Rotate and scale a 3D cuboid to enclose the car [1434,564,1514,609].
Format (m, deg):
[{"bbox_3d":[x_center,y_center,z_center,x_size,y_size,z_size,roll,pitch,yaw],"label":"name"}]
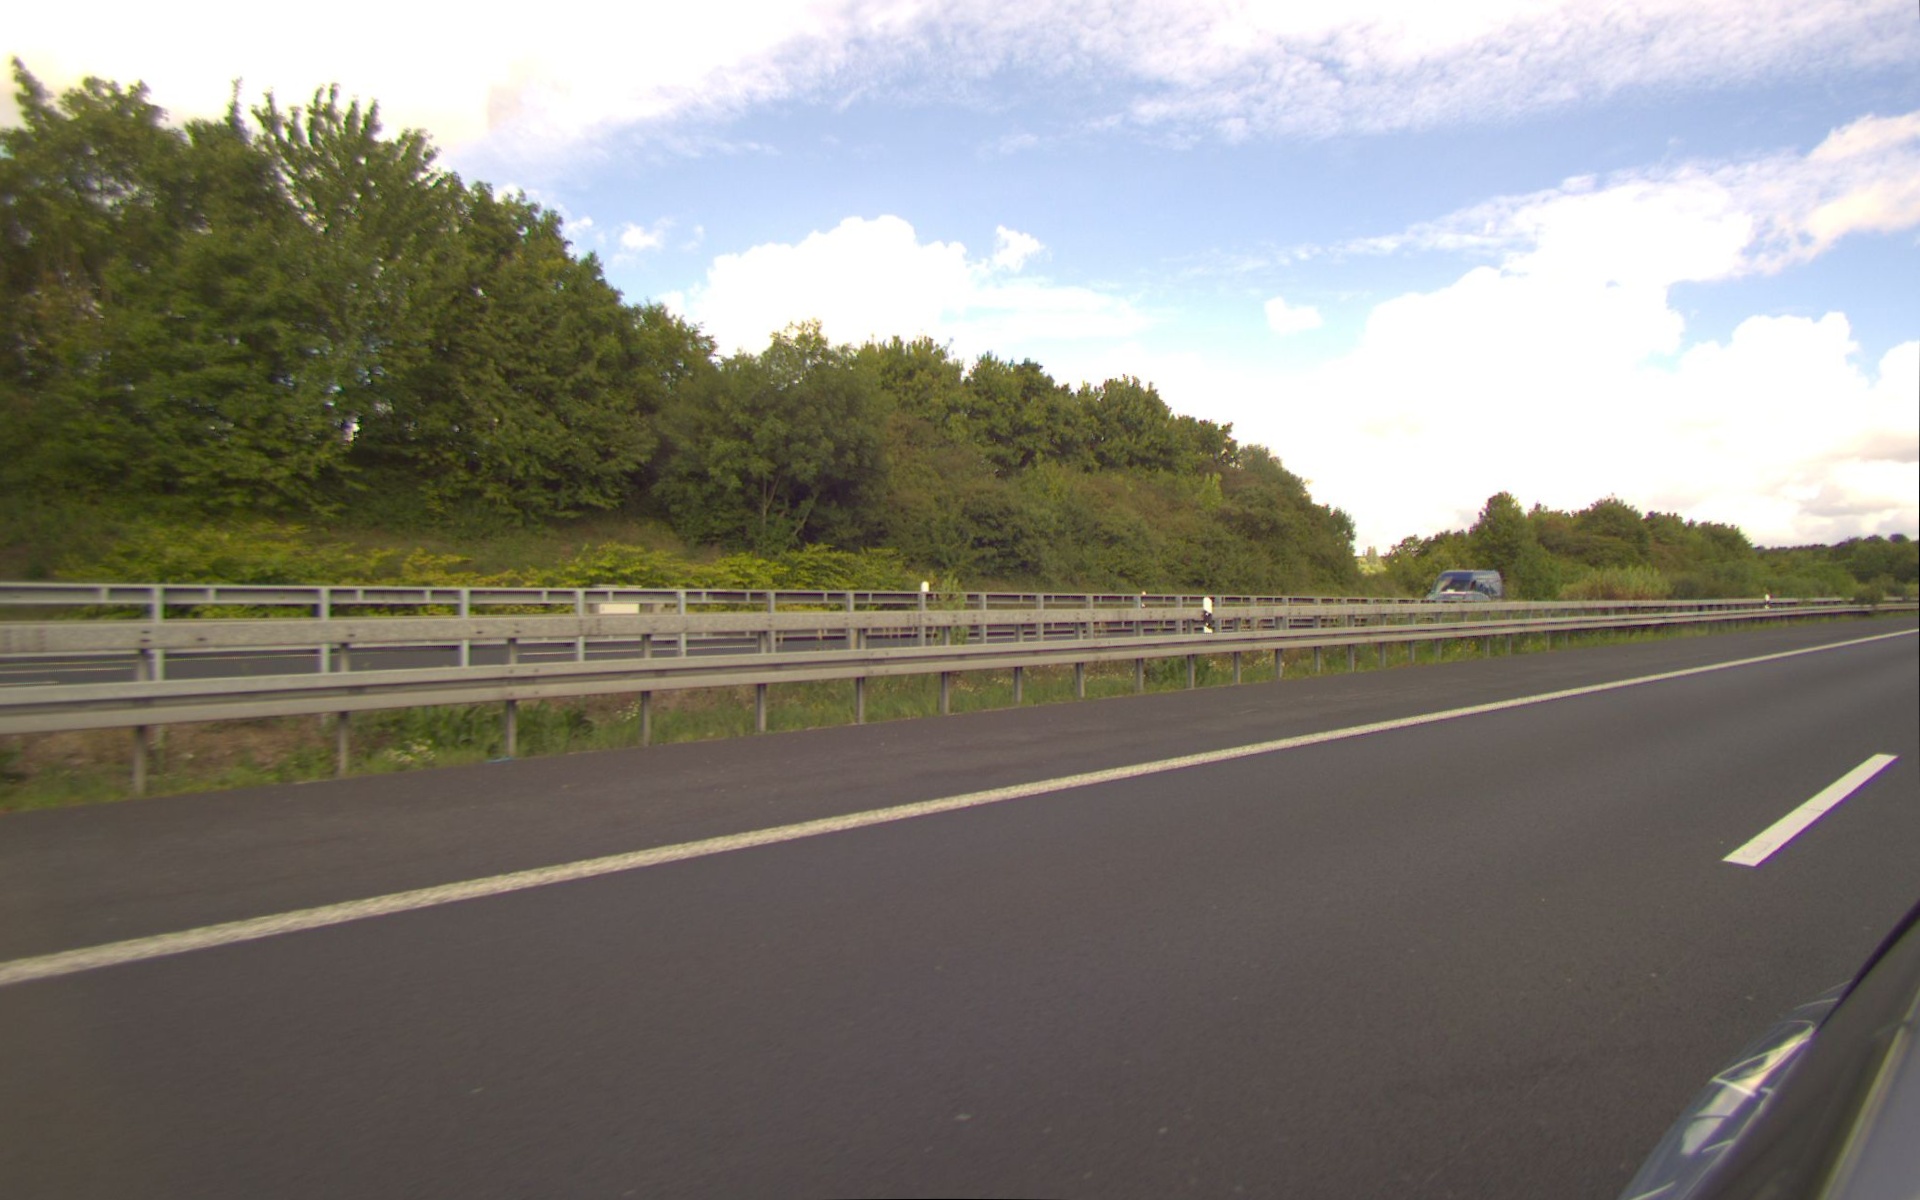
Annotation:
[{"bbox_3d":[26.394,-0.674,51.919,5.040,2.213,1.996,-1,1,-42],"label":"car"}]
